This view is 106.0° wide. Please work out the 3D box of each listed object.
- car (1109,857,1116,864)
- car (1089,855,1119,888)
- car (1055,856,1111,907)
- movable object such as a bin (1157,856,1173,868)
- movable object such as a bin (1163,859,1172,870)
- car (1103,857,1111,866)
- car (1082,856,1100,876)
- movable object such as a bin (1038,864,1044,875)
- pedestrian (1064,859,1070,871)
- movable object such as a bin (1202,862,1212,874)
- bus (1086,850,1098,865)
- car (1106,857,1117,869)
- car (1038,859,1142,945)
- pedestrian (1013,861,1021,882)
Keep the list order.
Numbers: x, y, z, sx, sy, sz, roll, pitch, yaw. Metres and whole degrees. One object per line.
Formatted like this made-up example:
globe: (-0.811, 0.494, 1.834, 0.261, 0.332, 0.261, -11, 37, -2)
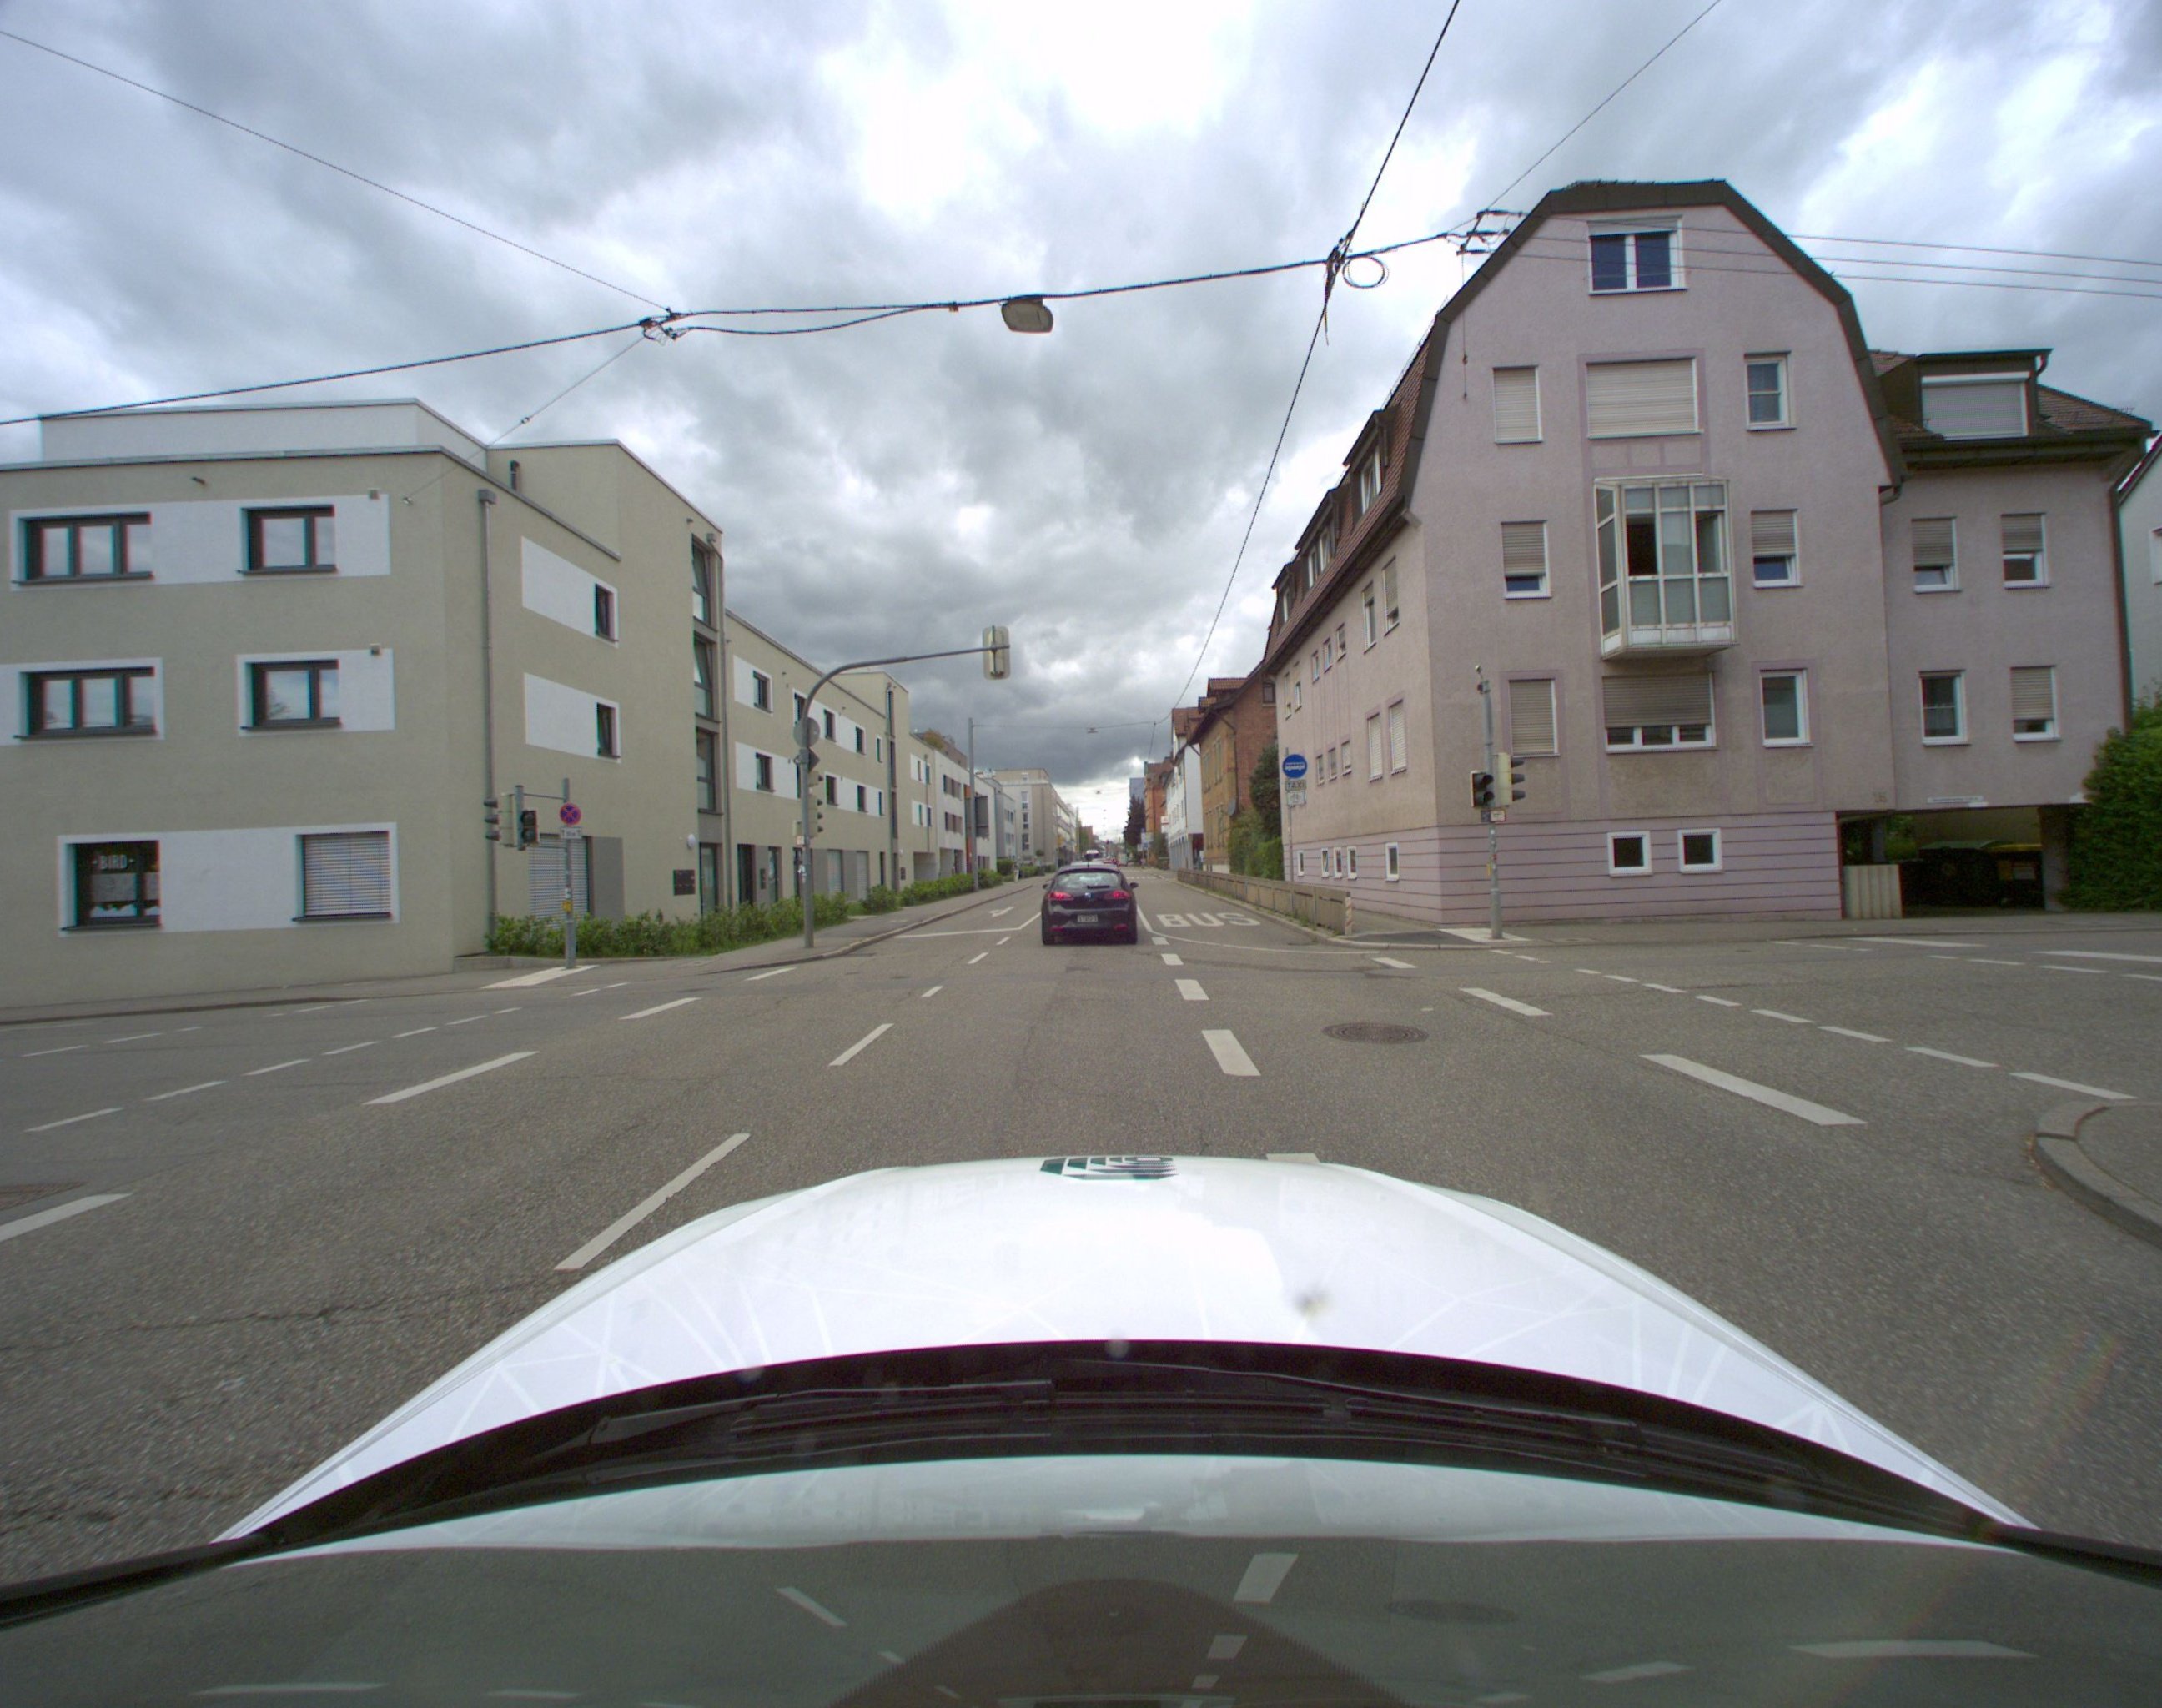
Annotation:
car: (7.267, 1.481, 186.919, 1.526, 1.693, 3.694, -2, 0, 2)
car: (1.255, 0.923, 44.284, 1.526, 1.693, 3.694, -1, -1, 2)
car: (0.130, 0.948, 29.420, 1.835, 1.693, 4.001, -1, -1, 2)
movable object such as a bin: (10.051, 1.003, 97.992, 1.810, 1.437, 1.994, -1, -1, 3)
movable object such as a bin: (9.931, 1.239, 93.522, 0.925, 1.283, 0.883, -1, -1, 3)
car: (5.135, 1.406, 160.254, 1.526, 1.693, 3.694, -2, 0, 2)
car: (0.967, 1.075, 74.152, 1.526, 1.693, 3.694, -1, -1, 2)
movable object such as a bin: (-3.981, 1.553, 81.115, 0.547, 1.078, 0.612, -1, -1, 3)
pedestrian: (-2.018, 1.620, 116.374, 0.728, 1.729, 0.860, -1, -1, 1)
movable object such as a bin: (8.539, 0.956, 55.226, 0.590, 0.840, 0.458, -1, -1, 1)
bus: (2.275, 0.806, 162.137, 2.202, 2.886, 8.923, -1, -1, 2)
car: (4.421, 1.361, 118.943, 1.526, 1.693, 3.694, -1, -1, 2)
car: (0.221, 0.852, 15.959, 1.752, 1.442, 4.002, -1, -1, 2)
pedestrian: (-4.726, 1.290, 59.935, 0.524, 1.548, 0.541, -1, -1, 2)
